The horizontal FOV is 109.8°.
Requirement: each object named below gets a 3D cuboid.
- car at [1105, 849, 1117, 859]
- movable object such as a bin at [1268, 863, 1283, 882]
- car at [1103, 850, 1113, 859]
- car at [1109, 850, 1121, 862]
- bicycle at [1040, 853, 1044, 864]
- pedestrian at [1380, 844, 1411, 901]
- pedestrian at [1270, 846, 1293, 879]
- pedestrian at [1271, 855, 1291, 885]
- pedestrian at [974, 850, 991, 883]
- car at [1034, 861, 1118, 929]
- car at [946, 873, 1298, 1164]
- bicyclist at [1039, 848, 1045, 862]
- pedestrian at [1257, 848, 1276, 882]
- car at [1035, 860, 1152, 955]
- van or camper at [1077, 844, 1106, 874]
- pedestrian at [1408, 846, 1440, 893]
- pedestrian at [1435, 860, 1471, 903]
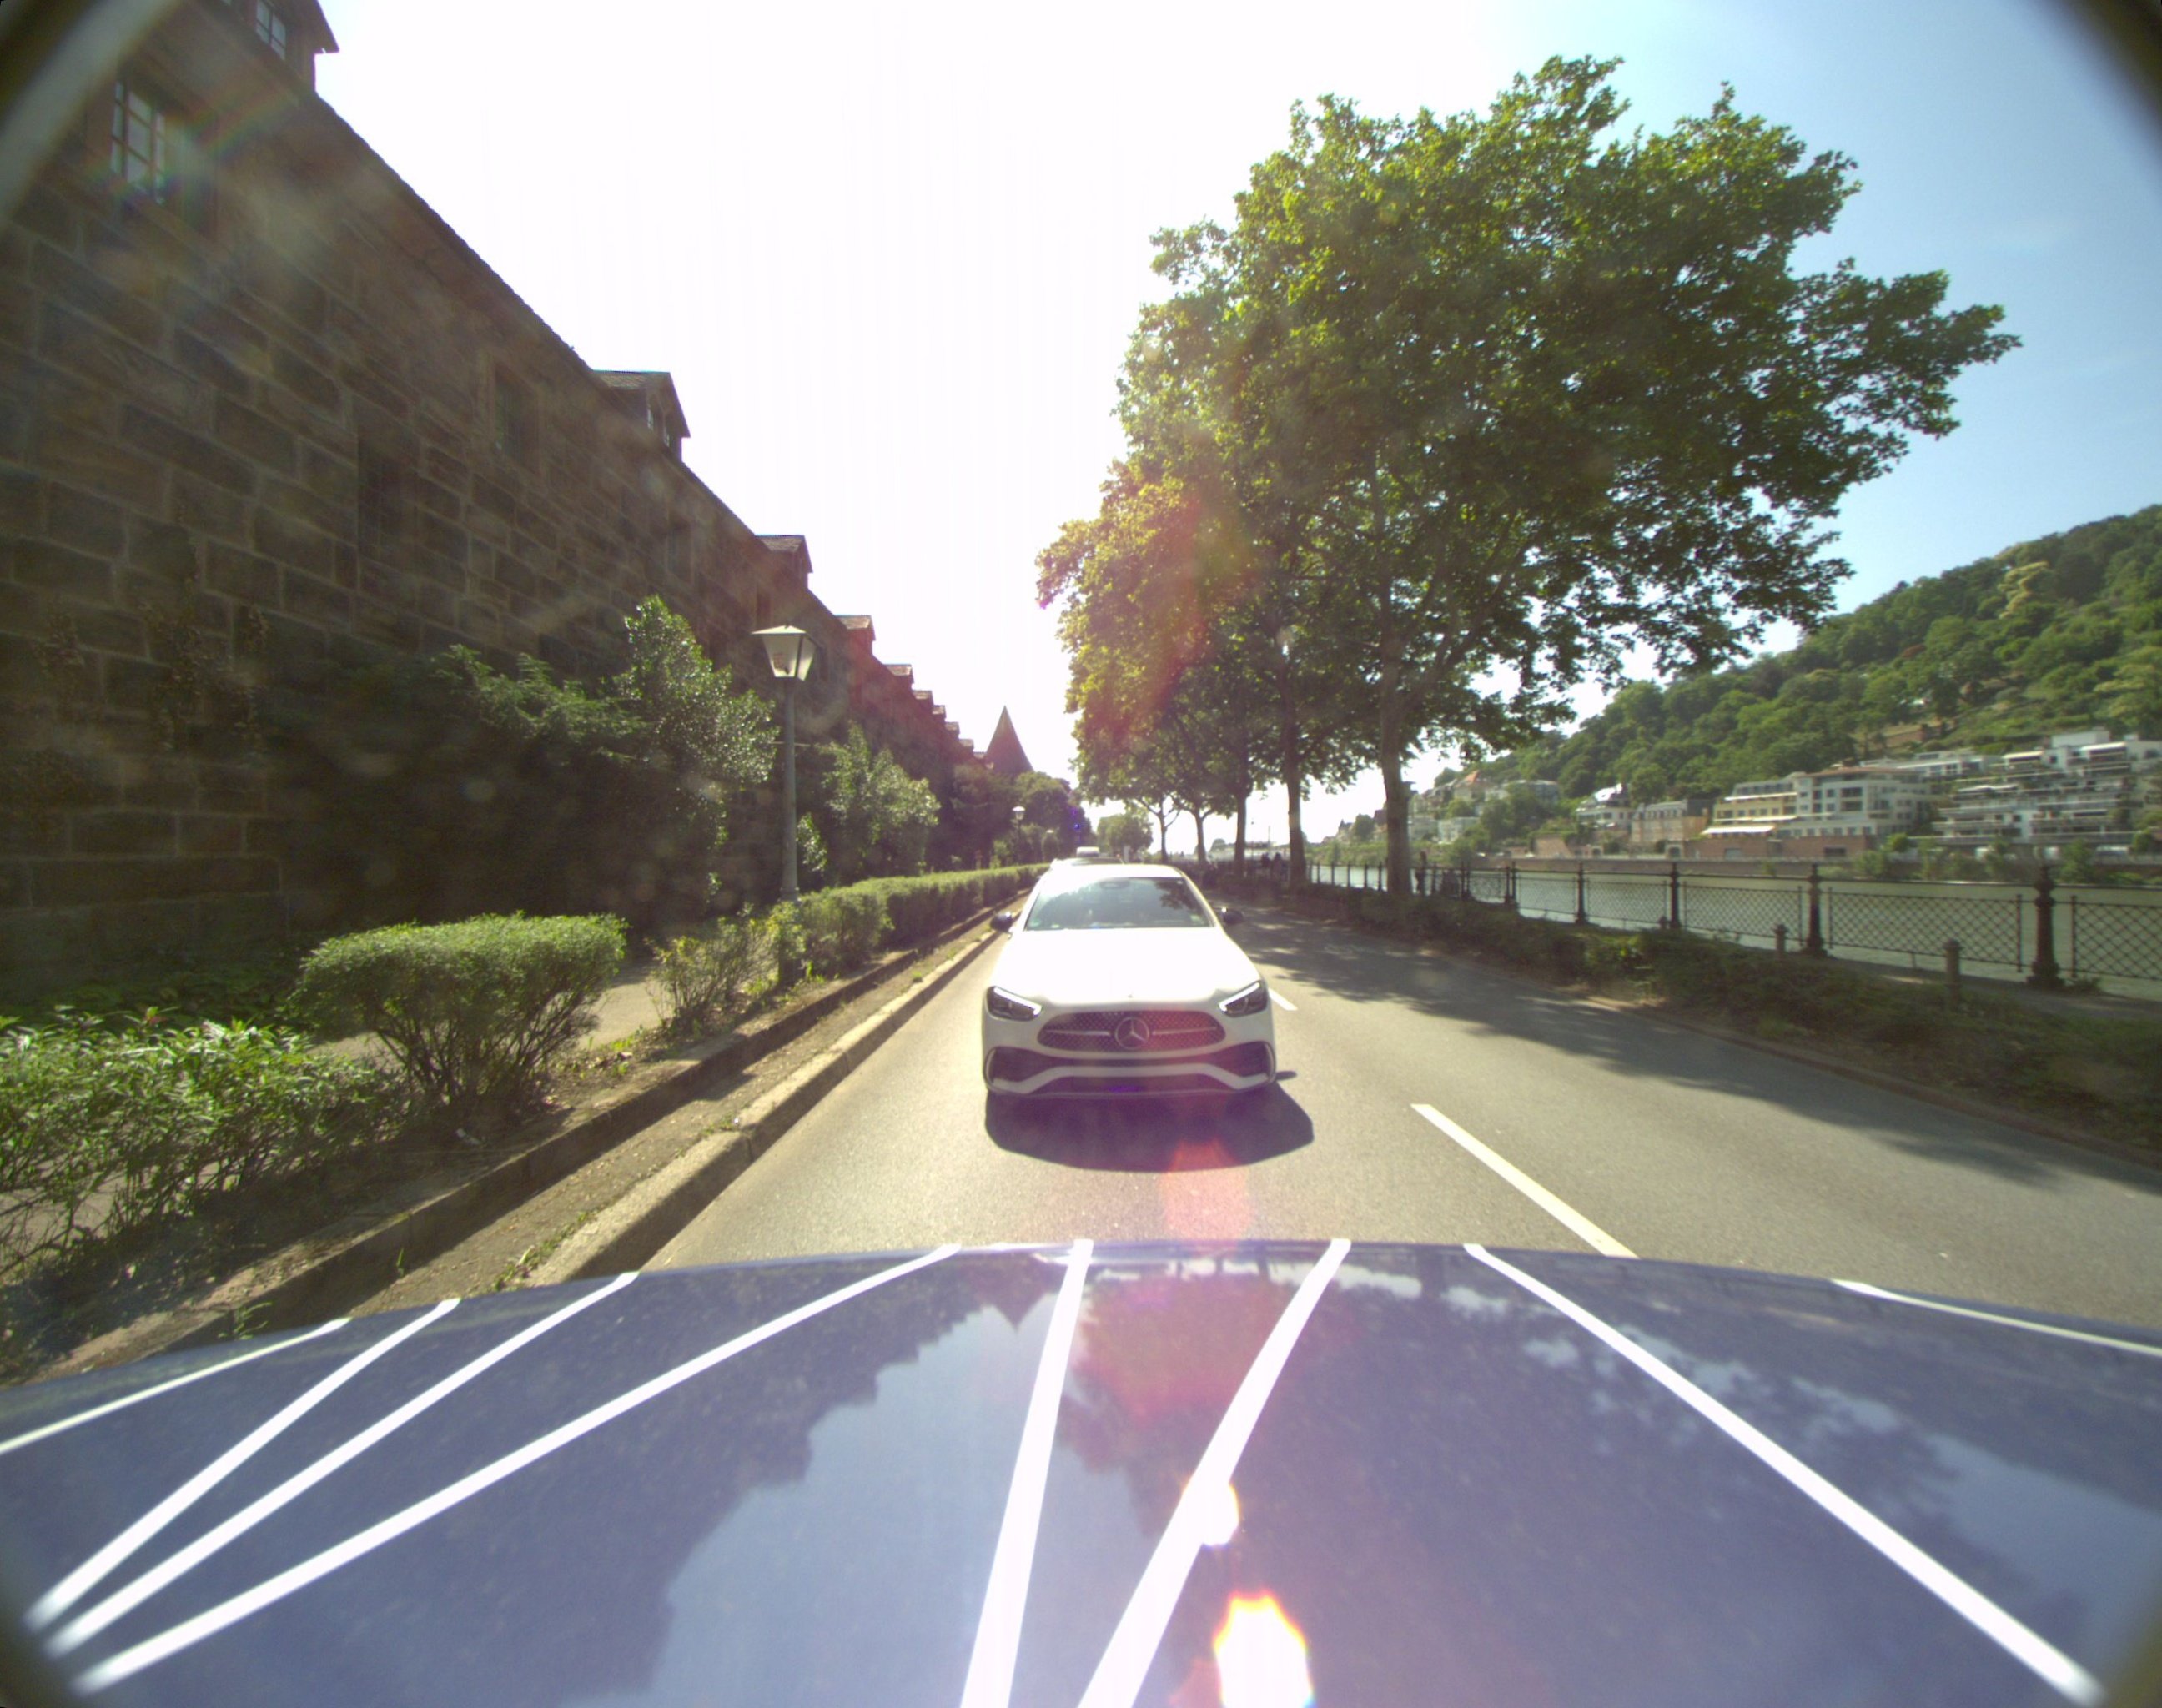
[{"bbox_3d":[6.079,0.028,154.232,2.165,2.002,4.000,-2,1,1],"label":"car"},{"bbox_3d":[11.149,1.046,43.555,0.703,1.043,0.783,-2,1,4],"label":"movable object such as a bin"},{"bbox_3d":[6.552,0.115,185.085,2.165,2.002,4.000,-2,1,1],"label":"car"},{"bbox_3d":[6.244,0.321,140.293,2.165,2.002,4.000,-2,1,1],"label":"car"},{"bbox_3d":[-4.396,0.491,85.497,0.406,1.169,1.576,-2,1,-2],"label":"bicycle"},{"bbox_3d":[10.631,0.625,25.681,0.767,1.889,0.771,1,1,8],"label":"pedestrian"},{"bbox_3d":[12.390,0.519,46.924,1.047,2.002,1.036,-1,1,31],"label":"pedestrian"},{"bbox_3d":[11.192,0.885,42.598,0.897,1.625,1.059,-2,1,6],"label":"pedestrian"},{"bbox_3d":[-4.690,0.587,36.134,0.643,1.555,0.563,-2,1,1],"label":"pedestrian"},{"bbox_3d":[-0.084,0.933,19.090,1.833,1.395,4.424,-2,0,1],"label":"car"},{"bbox_3d":[0.245,0.934,6.194,1.833,1.395,4.270,-2,0,1],"label":"car"},{"bbox_3d":[-4.396,0.096,85.542,0.550,1.513,0.583,-2,1,-1],"label":"bicyclist"},{"bbox_3d":[10.385,0.603,42.624,0.806,1.839,0.929,-2,1,1],"label":"pedestrian"},{"bbox_3d":[0.234,0.873,14.326,1.833,1.428,4.270,-2,0,1],"label":"car"},{"bbox_3d":[0.859,0.405,63.355,2.313,2.358,5.035,1,0,0],"label":"van or camper"},{"bbox_3d":[12.851,0.567,28.488,0.777,1.748,0.830,1,1,0],"label":"pedestrian"},{"bbox_3d":[12.088,0.890,24.702,0.768,1.379,0.770,1,0,0],"label":"pedestrian"}]
